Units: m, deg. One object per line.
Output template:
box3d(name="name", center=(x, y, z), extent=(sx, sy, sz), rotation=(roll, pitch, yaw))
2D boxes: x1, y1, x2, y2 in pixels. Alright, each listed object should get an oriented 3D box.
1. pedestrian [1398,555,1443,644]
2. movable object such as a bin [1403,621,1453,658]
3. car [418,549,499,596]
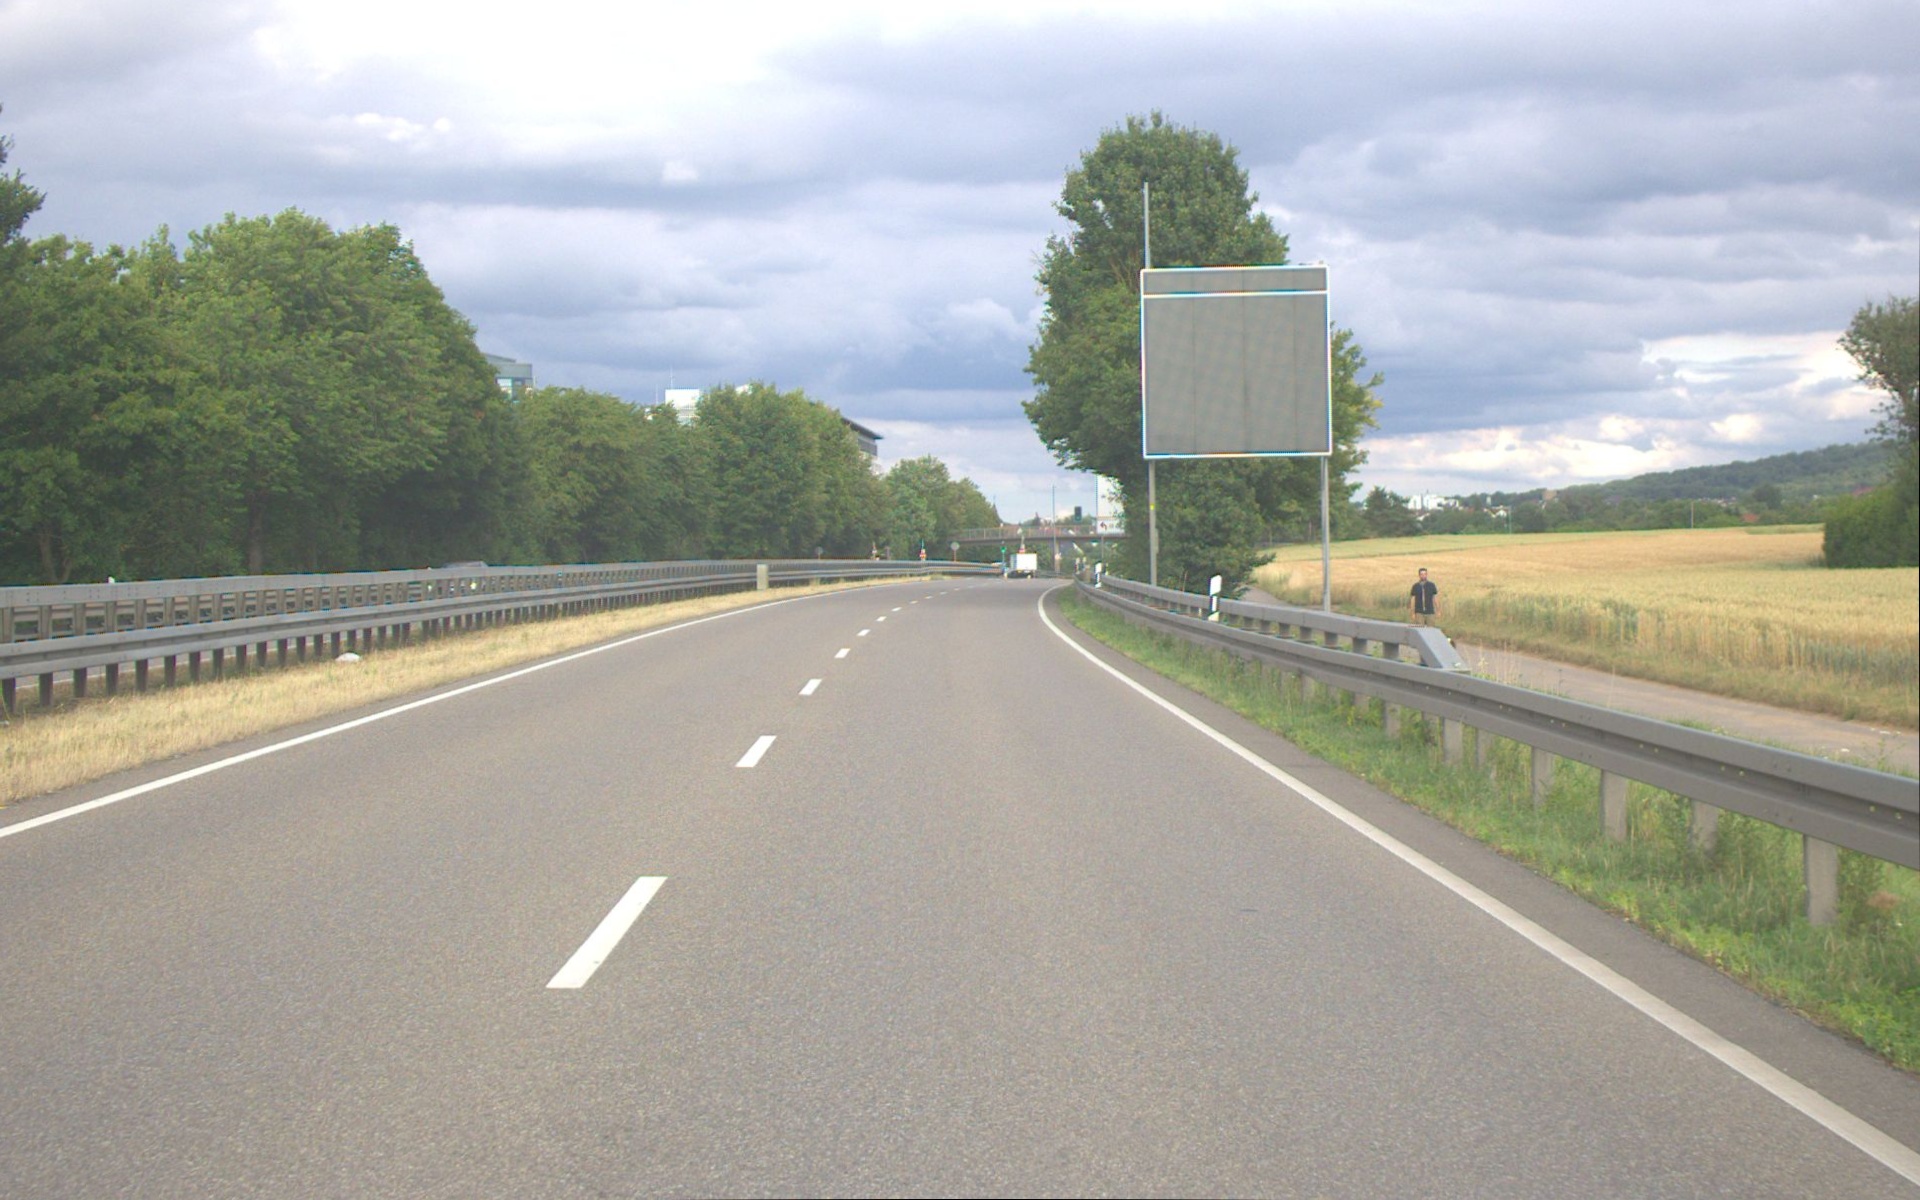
box3d(name="pedestrian", center=(9.800, -0.012, 73.169), extent=(0.771, 1.861, 0.940), rotation=(1, 0, 0))
box3d(name="movable object such as a bin", center=(8.639, 0.728, 63.452), extent=(0.732, 0.643, 1.235), rotation=(1, 0, 0))
box3d(name="car", center=(-15.180, -0.850, 104.289), extent=(1.781, 1.347, 4.577), rotation=(-1, 1, 0))
